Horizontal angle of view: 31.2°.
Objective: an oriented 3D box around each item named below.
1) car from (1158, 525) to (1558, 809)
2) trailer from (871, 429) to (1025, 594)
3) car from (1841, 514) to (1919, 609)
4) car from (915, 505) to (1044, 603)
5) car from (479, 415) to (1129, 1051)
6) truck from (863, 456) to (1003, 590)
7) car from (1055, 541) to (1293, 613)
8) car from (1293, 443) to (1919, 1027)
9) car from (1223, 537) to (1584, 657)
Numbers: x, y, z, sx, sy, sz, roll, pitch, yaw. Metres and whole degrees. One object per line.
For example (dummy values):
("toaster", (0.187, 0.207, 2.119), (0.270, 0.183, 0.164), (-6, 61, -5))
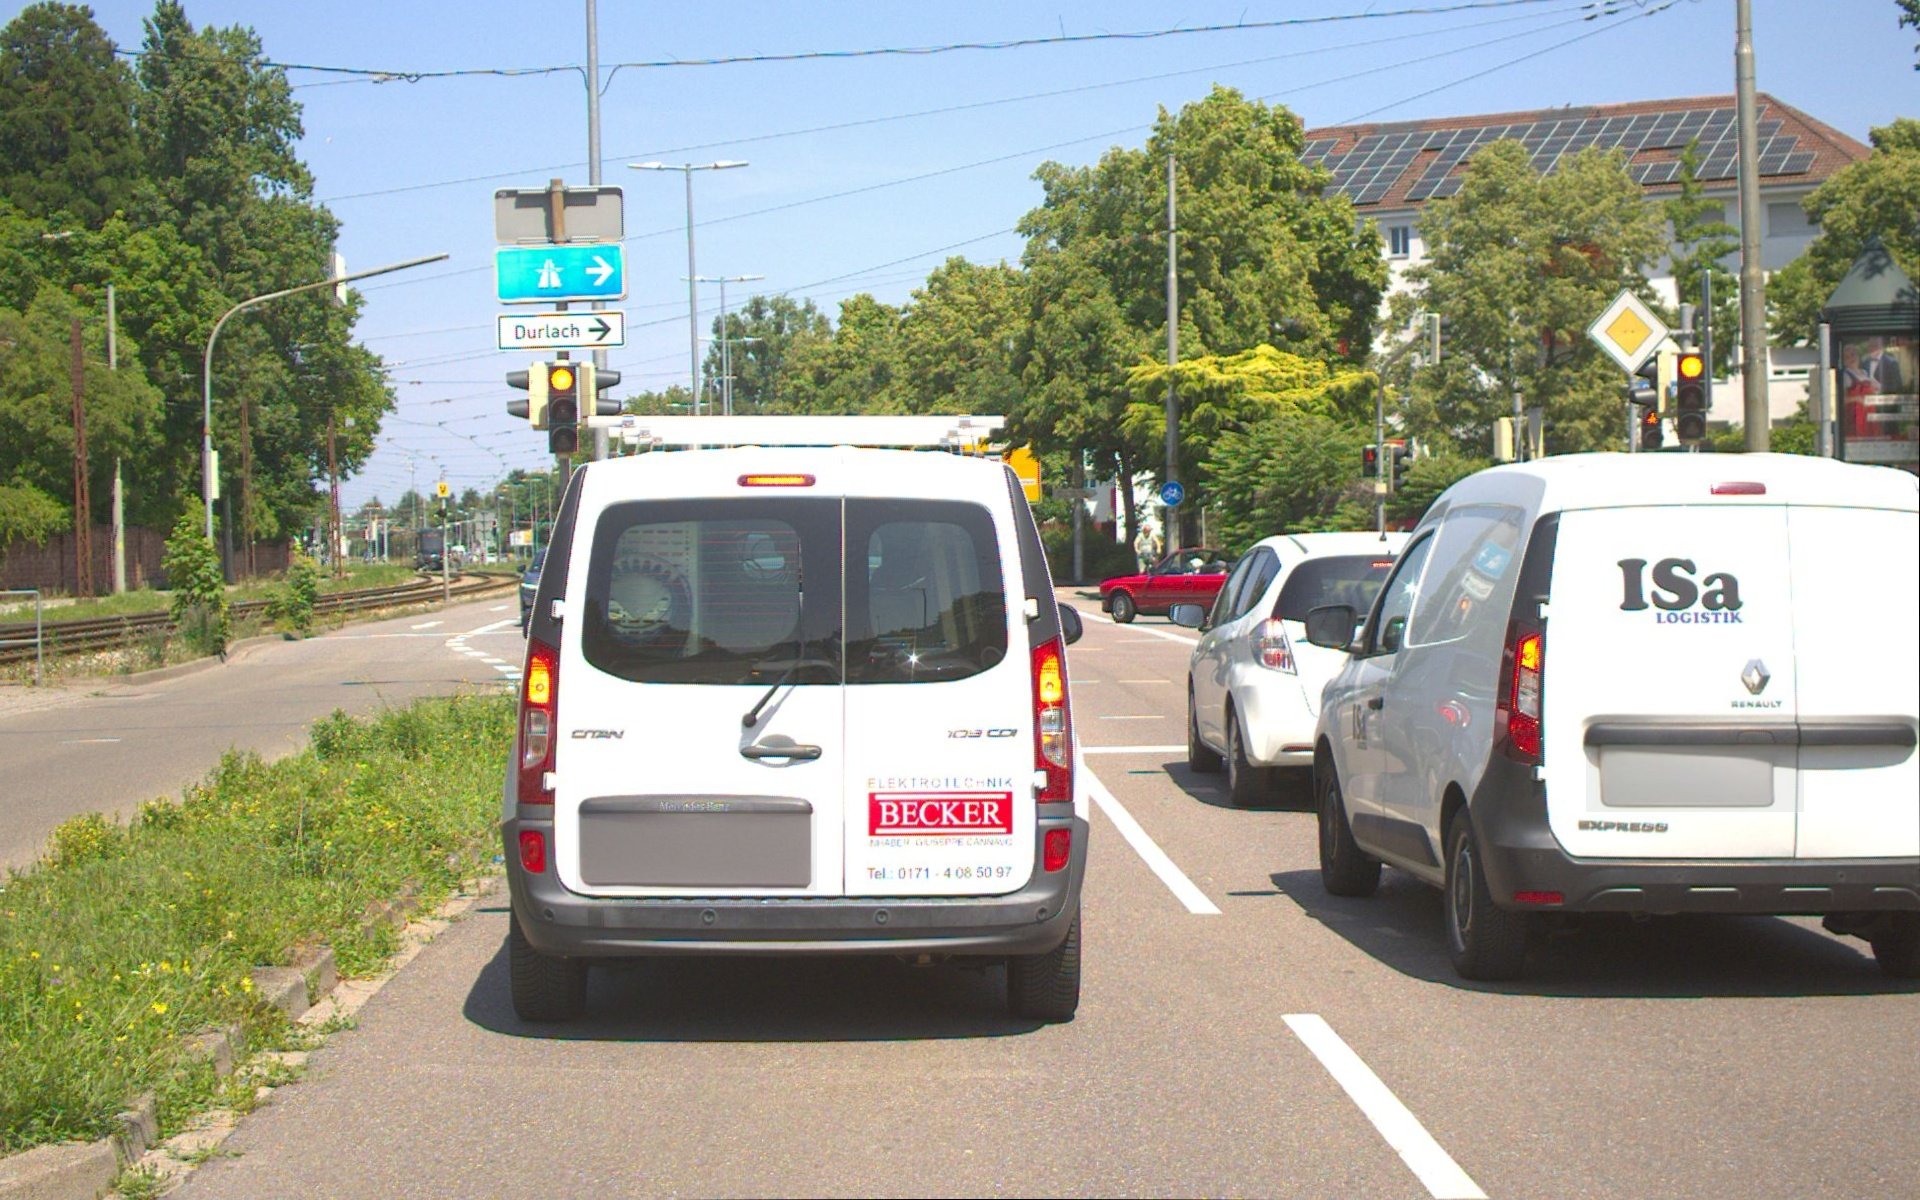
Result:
("car", (2.240, 0.317, 20.320), (1.756, 1.481, 4.001), (-1, 1, -2))
("trailer", (-0.414, -2.282, 89.798), (3.527, 4.037, 8.978), (-1, 1, -3))
("car", (16.508, -0.648, 55.886), (3.988, 1.503, 2.000), (-1, 1, 7))
("car", (0.381, -0.997, 73.566), (1.993, 2.007, 4.001), (-1, 1, -11))
("car", (-0.531, 0.348, 11.840), (1.866, 1.829, 3.849), (0, 1, -2))
("truck", (-0.869, -2.200, 98.656), (3.575, 3.620, 8.810), (-1, 1, -3))
("car", (3.808, -0.420, 61.512), (3.997, 1.218, 1.858), (0, 2, 44))
("car", (2.410, 0.381, 12.841), (1.710, 1.824, 4.014), (-1, 1, -3))
("car", (5.290, -0.048, 41.127), (3.996, 1.374, 1.541), (0, 1, 30))
